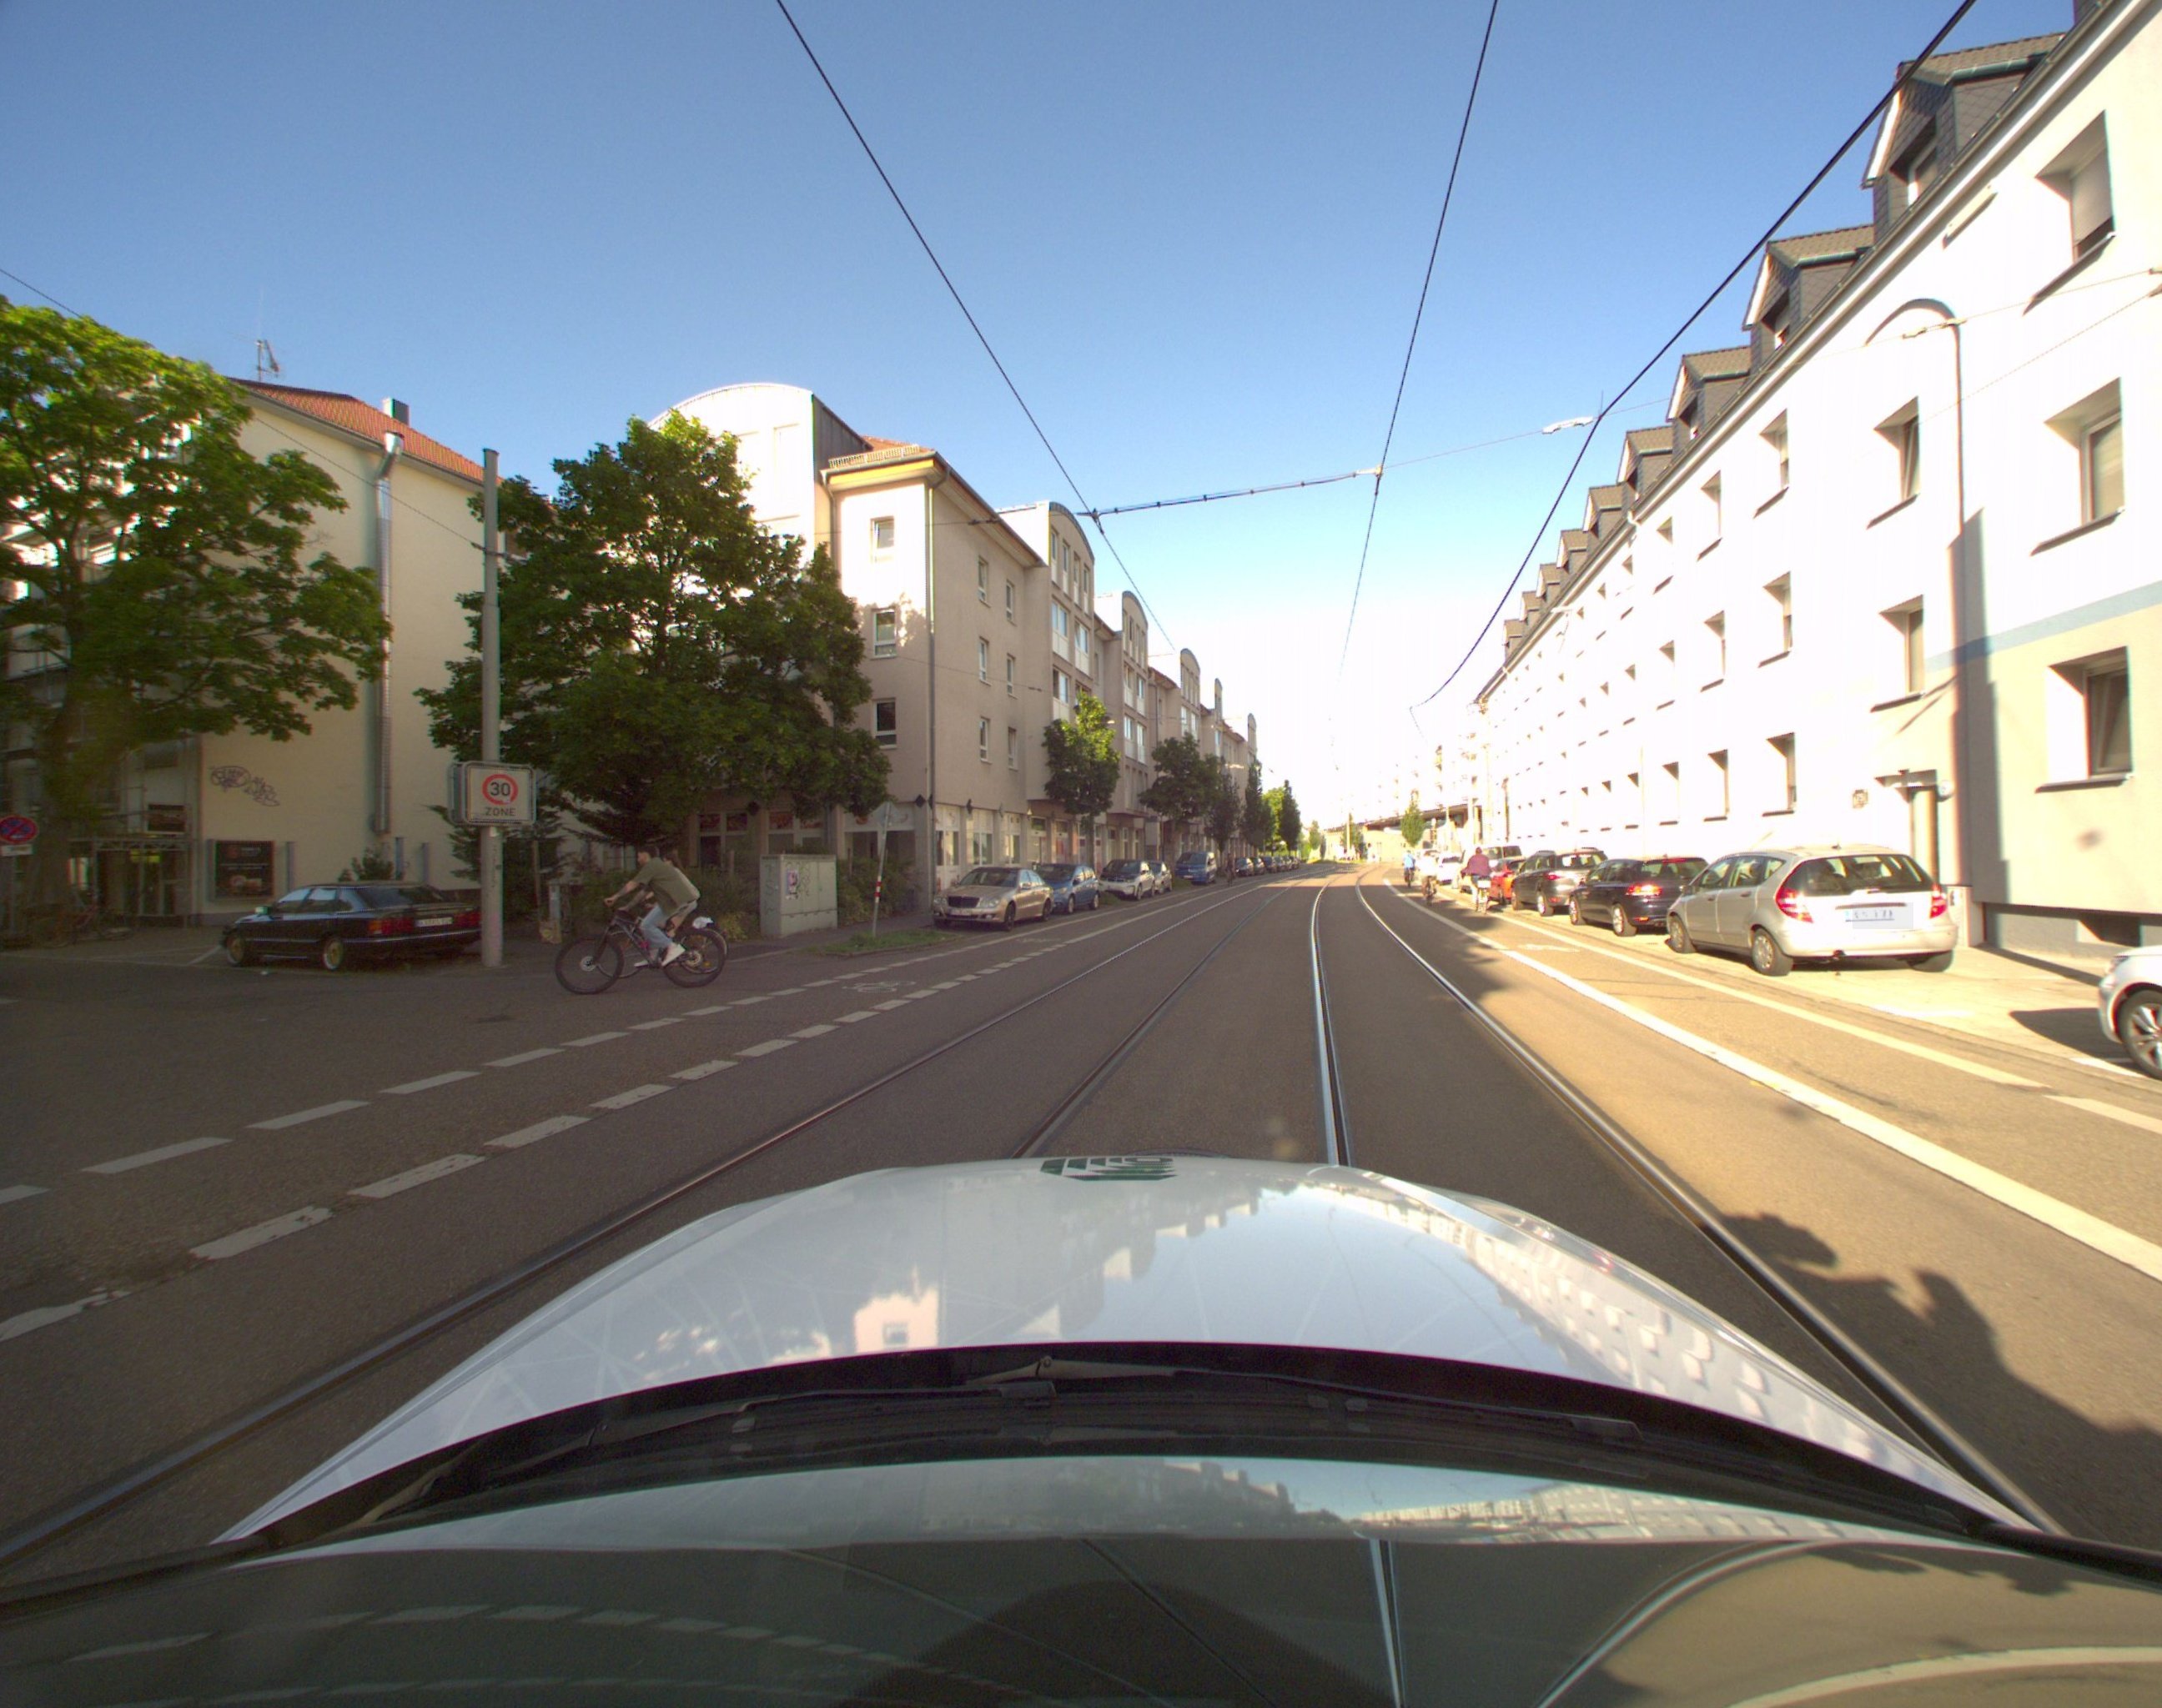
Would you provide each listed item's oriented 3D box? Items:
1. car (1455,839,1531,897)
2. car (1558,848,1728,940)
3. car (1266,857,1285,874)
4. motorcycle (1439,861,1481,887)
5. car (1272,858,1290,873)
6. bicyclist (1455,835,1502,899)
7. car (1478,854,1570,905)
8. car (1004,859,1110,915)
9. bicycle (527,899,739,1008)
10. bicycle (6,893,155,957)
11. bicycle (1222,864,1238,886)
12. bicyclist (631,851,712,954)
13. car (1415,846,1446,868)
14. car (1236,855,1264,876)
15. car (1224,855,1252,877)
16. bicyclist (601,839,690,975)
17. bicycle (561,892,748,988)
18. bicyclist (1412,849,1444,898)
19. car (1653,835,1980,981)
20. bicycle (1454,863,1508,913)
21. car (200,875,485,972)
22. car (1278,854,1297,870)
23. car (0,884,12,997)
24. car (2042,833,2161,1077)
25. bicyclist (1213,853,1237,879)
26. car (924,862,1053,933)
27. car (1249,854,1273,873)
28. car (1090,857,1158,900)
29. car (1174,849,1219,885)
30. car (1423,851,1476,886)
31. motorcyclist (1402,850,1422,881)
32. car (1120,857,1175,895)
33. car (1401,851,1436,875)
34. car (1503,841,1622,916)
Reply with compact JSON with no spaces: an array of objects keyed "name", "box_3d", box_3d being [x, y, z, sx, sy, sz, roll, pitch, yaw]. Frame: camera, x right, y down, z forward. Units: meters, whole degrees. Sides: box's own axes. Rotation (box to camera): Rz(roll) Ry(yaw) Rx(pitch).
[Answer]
[{"name":"car","box_3d":[15.389,0.509,30.661,1.773,1.971,4.173,-3,-1,17]},{"name":"car","box_3d":[10.940,0.714,16.184,1.579,1.537,4.025,-4,-1,17]},{"name":"car","box_3d":[18.877,1.130,78.981,1.579,1.540,3.205,-1,0,16]},{"name":"motorcycle","box_3d":[16.710,0.875,35.925,0.493,1.144,1.757,-1,0,-24]},{"name":"car","box_3d":[20.385,1.150,82.798,1.579,1.540,3.205,-1,0,16]},{"name":"bicyclist","box_3d":[10.627,0.346,21.790,0.927,1.676,0.973,-1,0,14]},{"name":"car","box_3d":[13.940,0.754,25.854,1.782,1.483,3.795,-1,0,16]},{"name":"car","box_3d":[-0.653,0.979,25.390,1.814,1.489,4.021,-3,-1,21]},{"name":"bicycle","box_3d":[-5.506,1.182,10.183,2.237,1.149,0.834,-1,-1,-26]},{"name":"bicycle","box_3d":[-22.191,1.550,18.135,0.721,1.165,1.989,-1,2,5]},{"name":"bicycle","box_3d":[7.941,1.094,43.254,0.618,1.101,1.968,-3,-1,15]},{"name":"bicyclist","box_3d":[-5.891,0.688,11.706,0.872,1.380,0.618,-4,-2,-35]},{"name":"car","box_3d":[29.184,0.244,68.201,1.830,1.756,4.568,-1,0,16]},{"name":"car","box_3d":[13.954,0.906,66.940,1.830,1.646,4.568,-1,0,16]},{"name":"car","box_3d":[11.972,0.896,61.907,1.652,1.618,4.018,-1,0,17]},{"name":"bicyclist","box_3d":[-5.439,0.644,10.233,0.870,1.561,0.877,-4,-2,-26]},{"name":"bicycle","box_3d":[-6.021,1.177,11.553,2.242,1.149,0.832,-1,-4,-35]},{"name":"bicyclist","box_3d":[10.622,0.577,24.948,0.722,1.462,1.025,-1,0,15]},{"name":"car","box_3d":[9.692,0.632,11.209,1.741,1.571,3.921,-5,-1,17]},{"name":"bicycle","box_3d":[10.716,0.865,21.904,0.815,1.236,2.472,0,0,15]},{"name":"car","box_3d":[-12.503,1.181,13.777,4.515,1.388,1.723,-4,-2,21]},{"name":"car","box_3d":[22.525,0.866,88.841,1.830,1.646,3.713,-1,0,16]},{"name":"car","box_3d":[-16.649,1.232,10.960,3.448,1.533,1.568,-2,-2,16]},{"name":"car","box_3d":[7.416,0.630,3.679,1.667,1.571,4.528,-3,-1,15]},{"name":"bicyclist","box_3d":[7.680,0.642,43.487,1.175,1.330,1.099,-1,-1,13]},{"name":"car","box_3d":[-2.116,0.959,19.858,1.731,1.443,4.016,1,0,15]},{"name":"car","box_3d":[16.710,0.850,75.443,1.830,1.646,4.568,-1,0,16]},{"name":"car","box_3d":[1.840,0.954,33.417,1.815,1.593,4.018,-1,0,18]},{"name":"car","box_3d":[6.682,0.720,46.812,1.651,1.986,4.364,-1,0,20]},{"name":"car","box_3d":[18.730,0.714,41.523,1.830,1.646,4.568,-1,0,16]},{"name":"motorcyclist","box_3d":[15.353,0.517,37.809,0.722,1.405,1.025,-1,0,15]},{"name":"car","box_3d":[3.179,0.988,38.096,1.816,1.593,4.016,-1,0,15]},{"name":"car","box_3d":[23.780,0.605,57.474,1.830,1.646,3.982,-1,0,16]},{"name":"car","box_3d":[12.401,0.587,21.231,1.648,1.670,3.921,-5,-1,16]}]
